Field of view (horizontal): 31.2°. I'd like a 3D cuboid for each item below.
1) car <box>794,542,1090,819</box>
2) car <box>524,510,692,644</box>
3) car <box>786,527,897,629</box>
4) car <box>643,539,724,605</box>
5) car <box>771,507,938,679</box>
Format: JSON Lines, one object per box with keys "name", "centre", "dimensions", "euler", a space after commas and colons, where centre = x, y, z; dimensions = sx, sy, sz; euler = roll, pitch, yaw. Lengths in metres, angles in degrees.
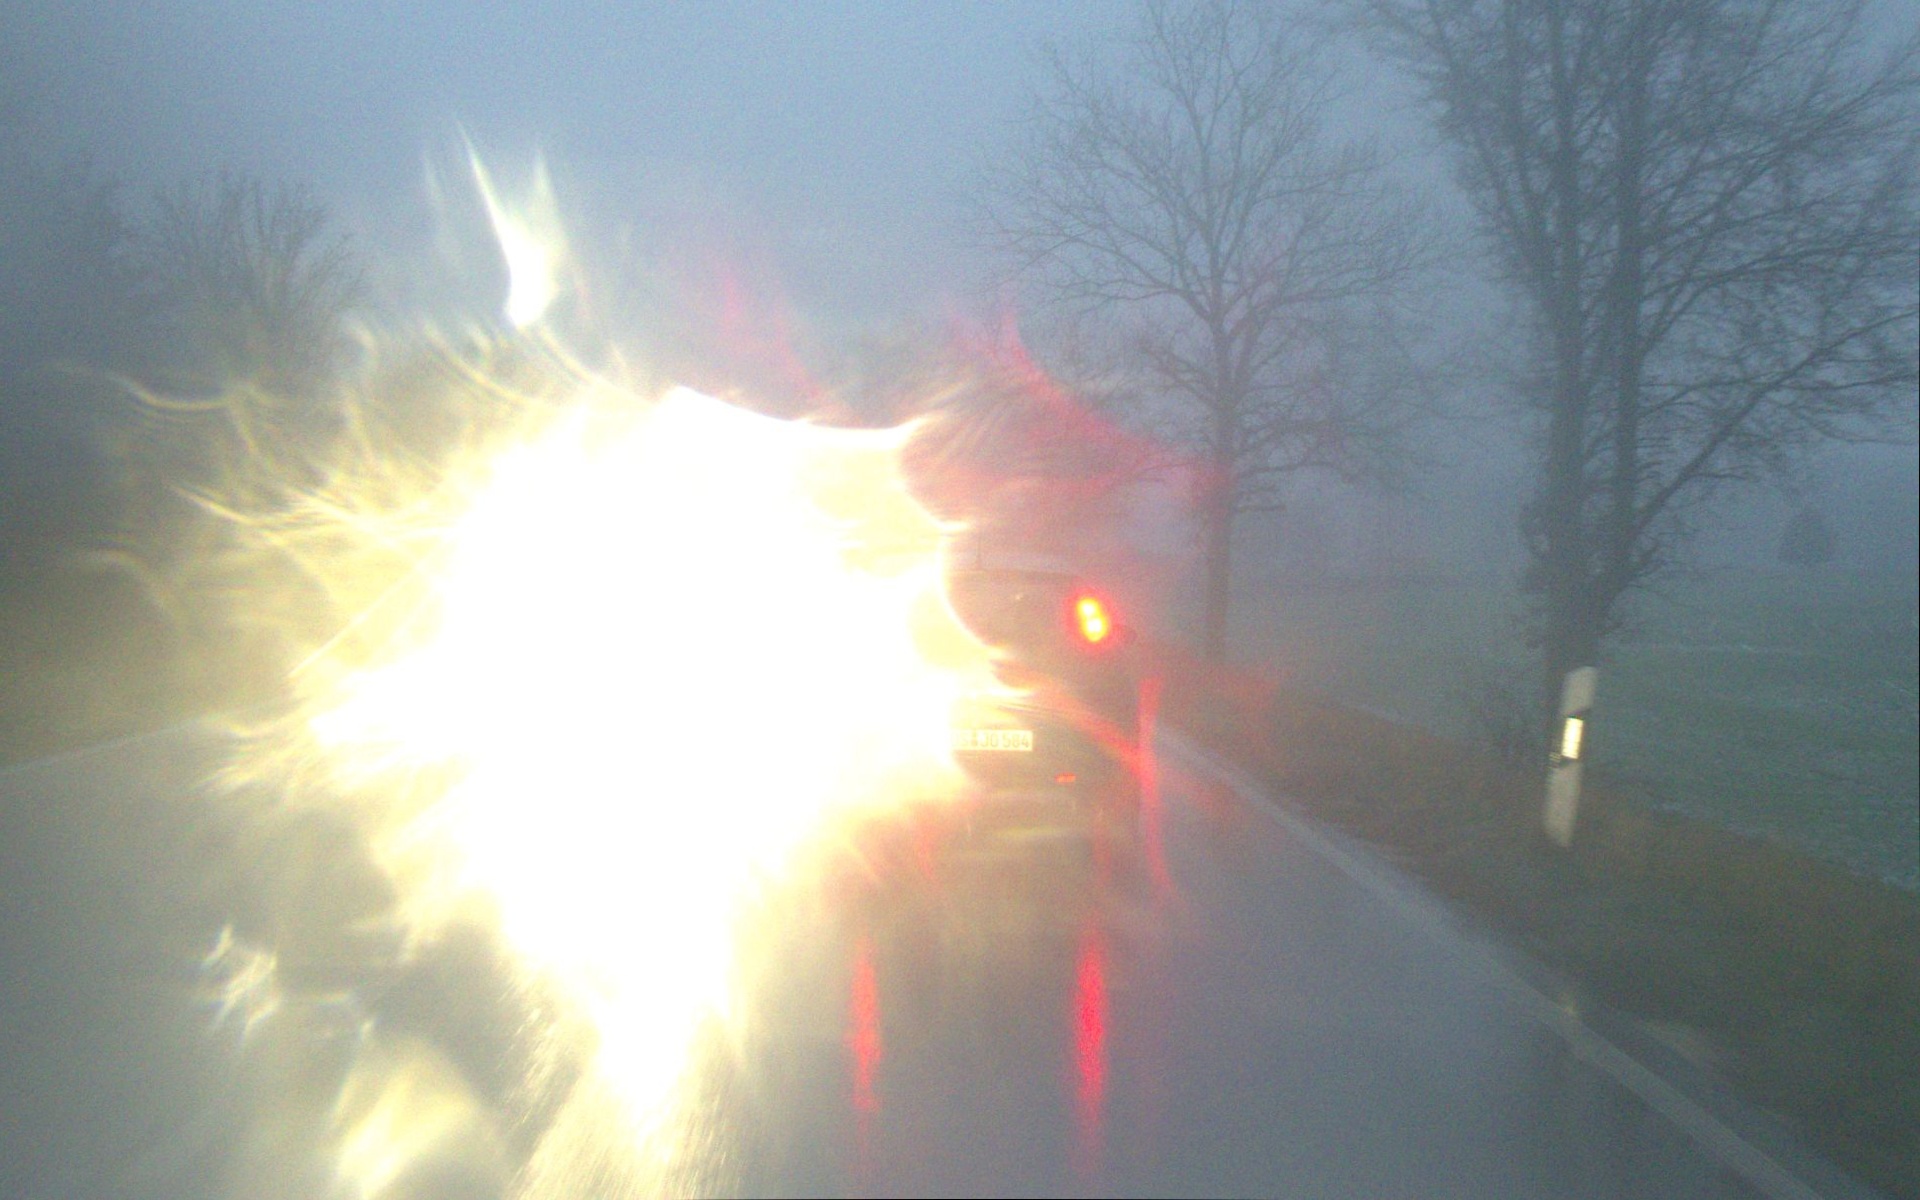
{"name": "car", "centre": [-0.062, 0.387, 19.222], "dimensions": [1.500, 1.393, 3.199], "euler": [1, 1, 1]}
{"name": "car", "centre": [-4.692, -0.352, 46.336], "dimensions": [1.863, 1.694, 4.468], "euler": [1, 1, -1]}
{"name": "car", "centre": [-2.058, -0.417, 60.675], "dimensions": [1.863, 1.694, 4.468], "euler": [1, 1, -1]}
{"name": "car", "centre": [-6.408, -0.660, 79.967], "dimensions": [1.655, 1.481, 3.670], "euler": [1, 1, -2]}
{"name": "car", "centre": [-1.266, -0.116, 42.780], "dimensions": [1.852, 2.007, 4.000], "euler": [1, 1, 1]}
